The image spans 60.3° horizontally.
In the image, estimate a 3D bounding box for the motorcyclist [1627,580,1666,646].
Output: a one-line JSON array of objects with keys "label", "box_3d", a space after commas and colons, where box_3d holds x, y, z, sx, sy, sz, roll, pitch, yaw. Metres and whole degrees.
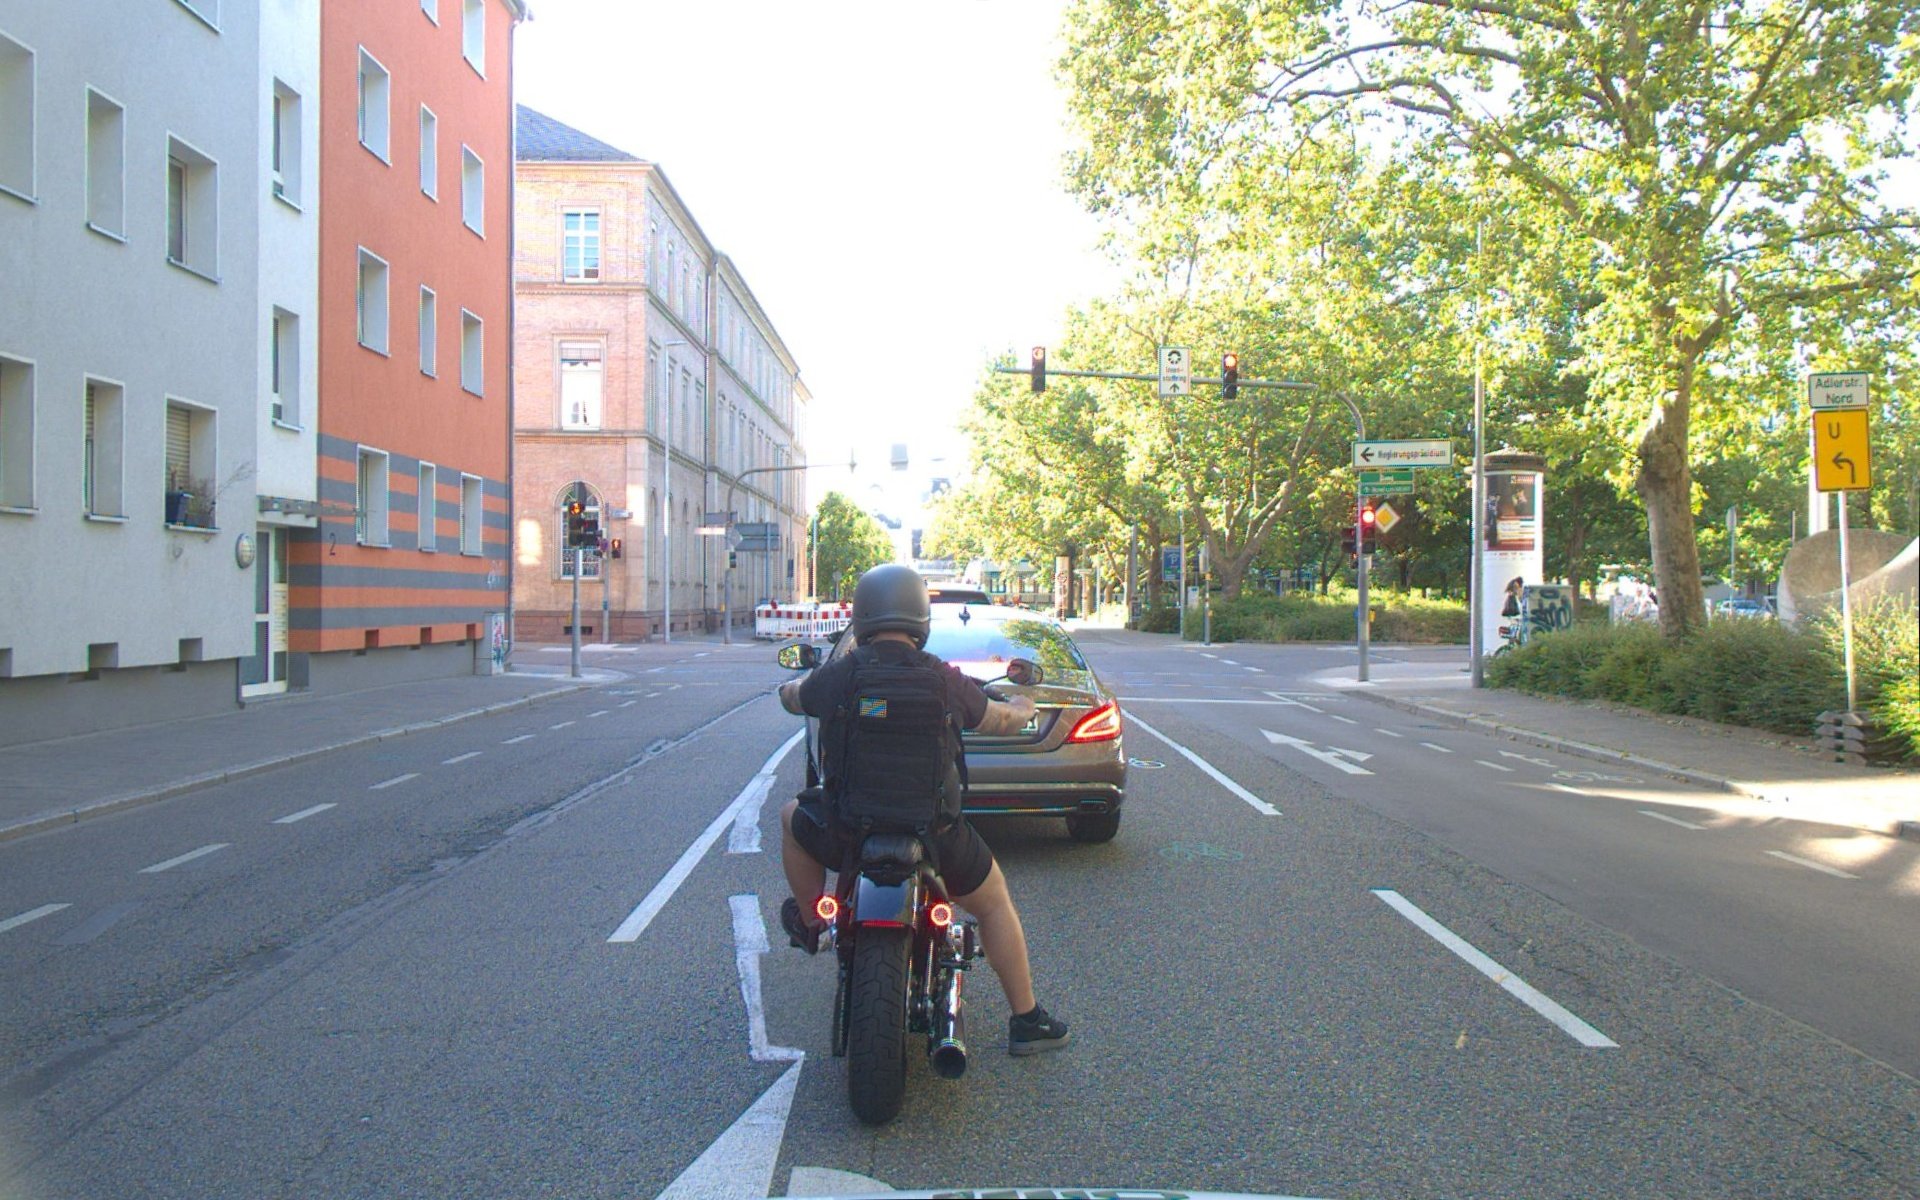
[{"label": "motorcyclist", "box_3d": [19.945, 0.380, 48.050, 0.962, 1.909, 0.376, 0, -1, 3]}]

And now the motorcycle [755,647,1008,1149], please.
[{"label": "motorcycle", "box_3d": [-0.221, 0.816, 5.390, 0.646, 1.261, 2.057, 1, 0, -1]}]

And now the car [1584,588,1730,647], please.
[{"label": "car", "box_3d": [21.990, 0.541, 52.267, 3.907, 1.803, 1.737, 0, 0, -3]}]

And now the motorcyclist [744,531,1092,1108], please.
[{"label": "motorcyclist", "box_3d": [-0.126, 0.631, 5.300, 0.970, 1.639, 1.120, 1, 0, -1]}]

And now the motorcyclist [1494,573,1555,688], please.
[{"label": "motorcyclist", "box_3d": [9.483, 0.507, 27.808, 0.805, 1.896, 0.672, 1, -1, 4]}]

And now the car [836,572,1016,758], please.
[{"label": "car", "box_3d": [-0.336, 0.603, 17.163, 1.618, 1.681, 3.999, 1, 0, -1]}]

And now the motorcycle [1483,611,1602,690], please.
[{"label": "motorcycle", "box_3d": [9.775, 0.839, 27.797, 1.743, 1.265, 0.723, 1, 0, 4]}]

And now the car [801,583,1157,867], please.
[{"label": "car", "box_3d": [-0.087, 0.686, 11.100, 1.790, 1.512, 4.326, 1, 0, -7]}]
